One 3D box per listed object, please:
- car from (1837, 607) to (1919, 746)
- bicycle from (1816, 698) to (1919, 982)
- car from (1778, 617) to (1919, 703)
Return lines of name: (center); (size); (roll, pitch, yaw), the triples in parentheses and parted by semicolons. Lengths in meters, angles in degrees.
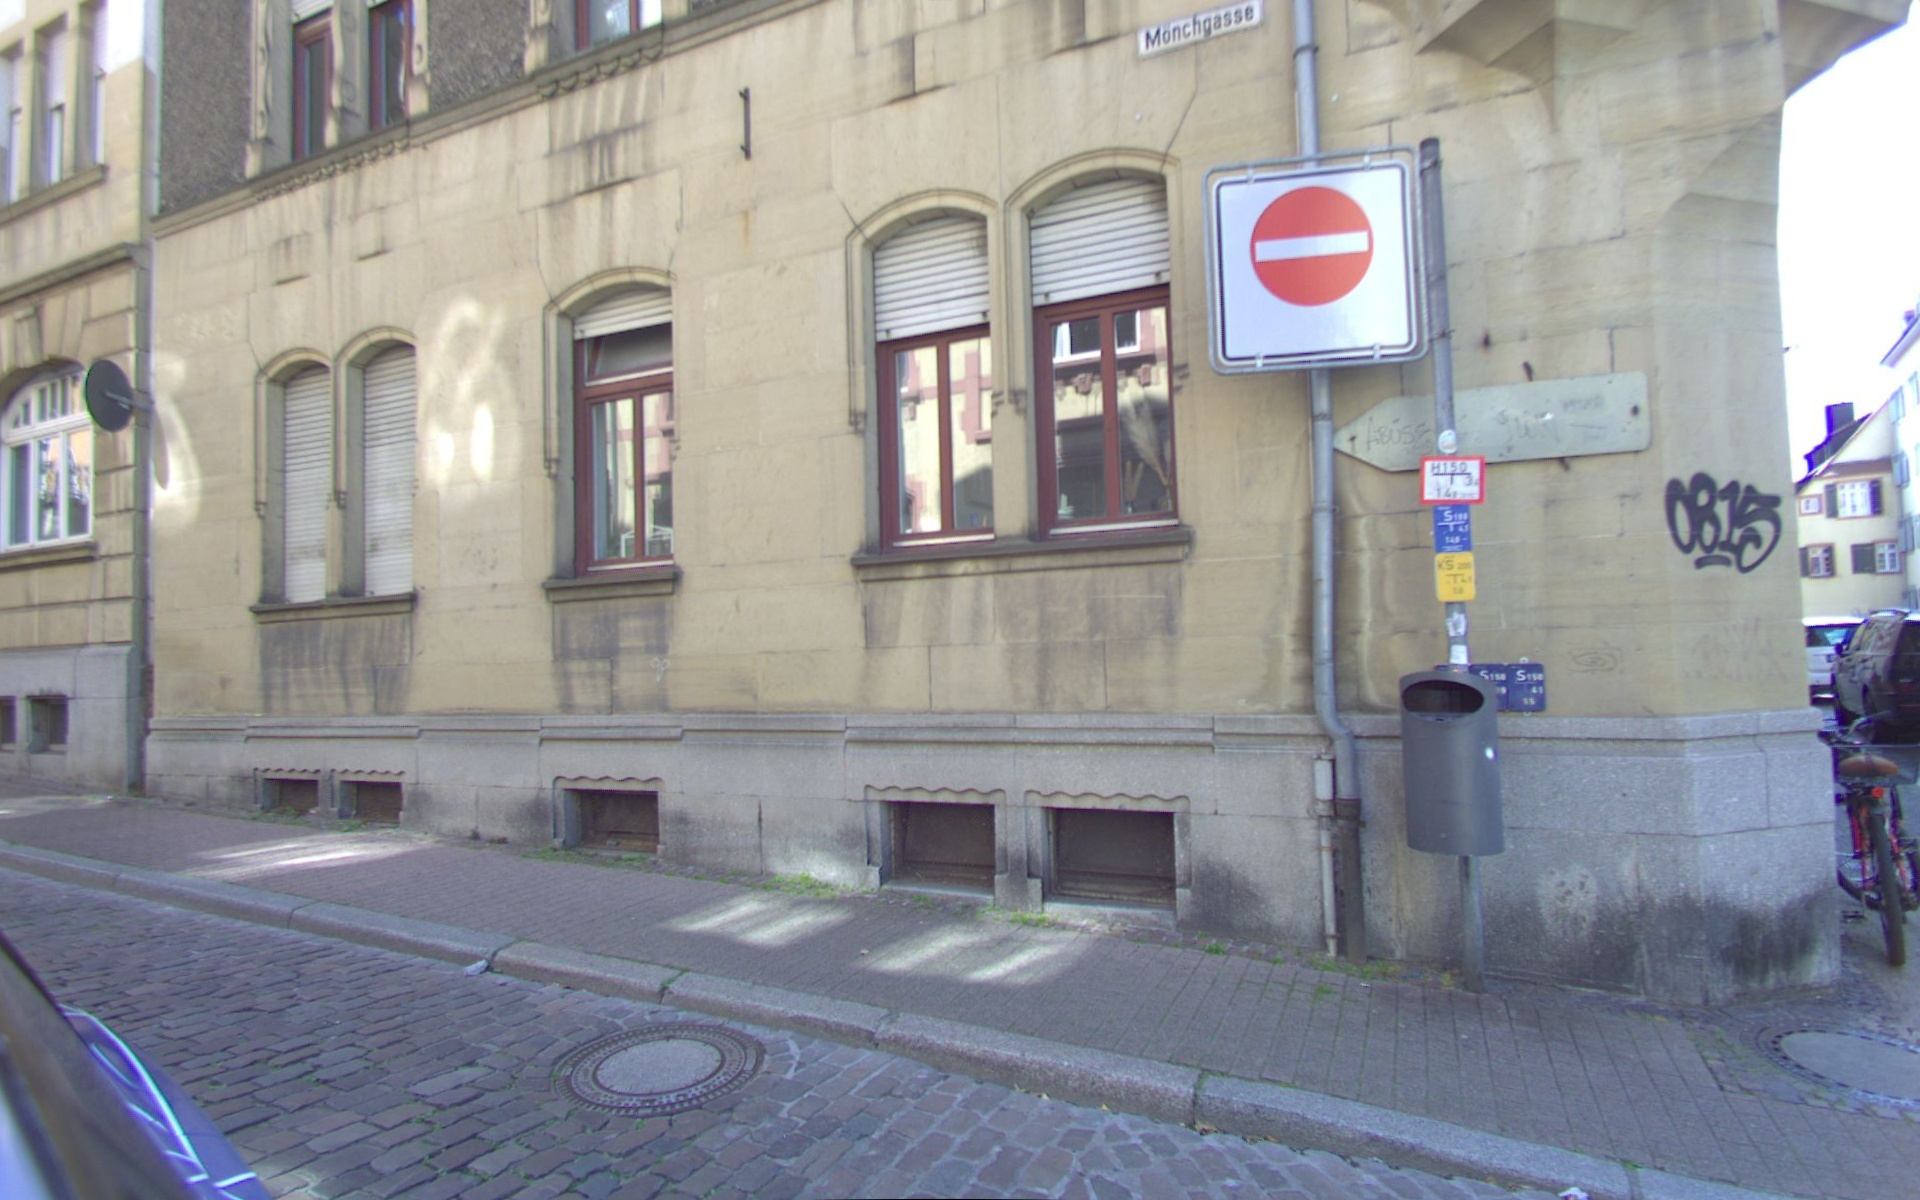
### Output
car: (13.010, 0.922, 13.463); (1.565, 1.648, 3.815); (-2, -2, 35)
bicycle: (4.536, 1.069, 4.819); (0.495, 1.094, 1.623); (2, -1, 34)
car: (17.122, 1.099, 19.556); (1.658, 1.454, 3.816); (-2, -2, 34)
